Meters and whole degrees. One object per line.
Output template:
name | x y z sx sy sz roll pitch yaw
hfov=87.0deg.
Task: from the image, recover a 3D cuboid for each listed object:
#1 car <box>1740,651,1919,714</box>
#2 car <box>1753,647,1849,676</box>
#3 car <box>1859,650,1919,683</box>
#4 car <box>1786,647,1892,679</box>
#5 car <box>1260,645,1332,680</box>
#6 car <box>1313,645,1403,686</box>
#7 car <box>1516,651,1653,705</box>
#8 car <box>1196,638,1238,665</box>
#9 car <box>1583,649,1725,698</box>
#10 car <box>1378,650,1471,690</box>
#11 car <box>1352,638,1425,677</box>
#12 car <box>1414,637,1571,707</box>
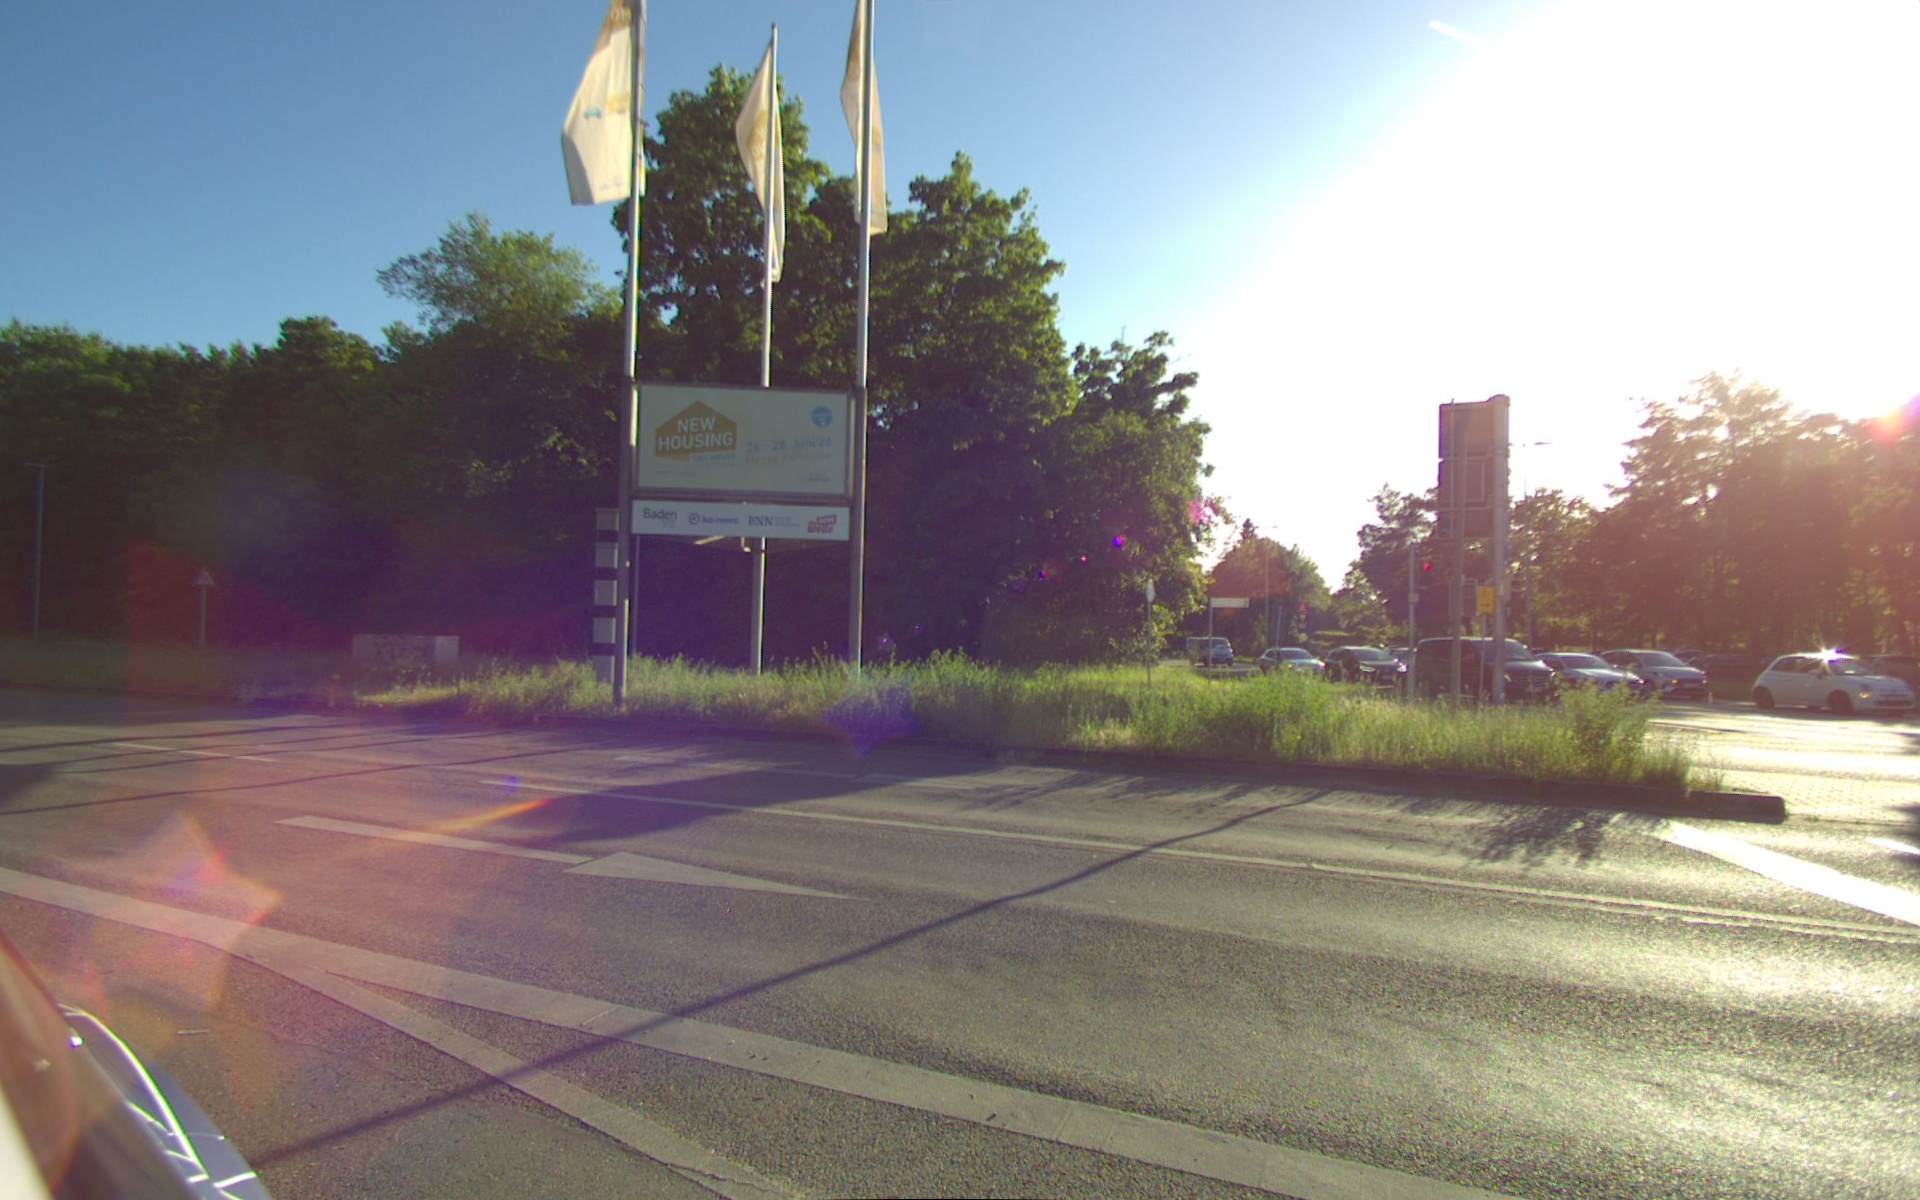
car | 22.104 2.031 25.483 1.901 1.400 3.800 1 -2 -1
car | 49.719 3.624 59.880 3.930 1.612 1.807 0 -2 12
car | 48.969 3.400 51.726 4.107 1.612 1.807 0 -2 12
car | 48.007 3.412 55.340 3.930 1.612 1.807 0 -2 12
car | 14.723 2.728 44.507 1.828 1.400 3.800 1 -2 -1
car | 14.970 2.440 38.291 1.828 1.400 3.800 1 -2 -1
car | 18.416 2.270 30.060 1.624 1.400 3.800 1 -2 -1
car | 17.496 3.475 69.139 1.828 1.773 3.800 1 -2 -1
car | 22.043 2.310 32.323 1.828 1.400 3.800 1 -2 -1
car | 18.207 2.729 39.877 1.828 1.400 3.800 1 -2 -1
car | 20.610 2.737 48.823 1.828 1.773 3.800 1 -2 -1
car | 15.421 2.026 29.681 1.901 1.844 4.934 1 -2 -1
